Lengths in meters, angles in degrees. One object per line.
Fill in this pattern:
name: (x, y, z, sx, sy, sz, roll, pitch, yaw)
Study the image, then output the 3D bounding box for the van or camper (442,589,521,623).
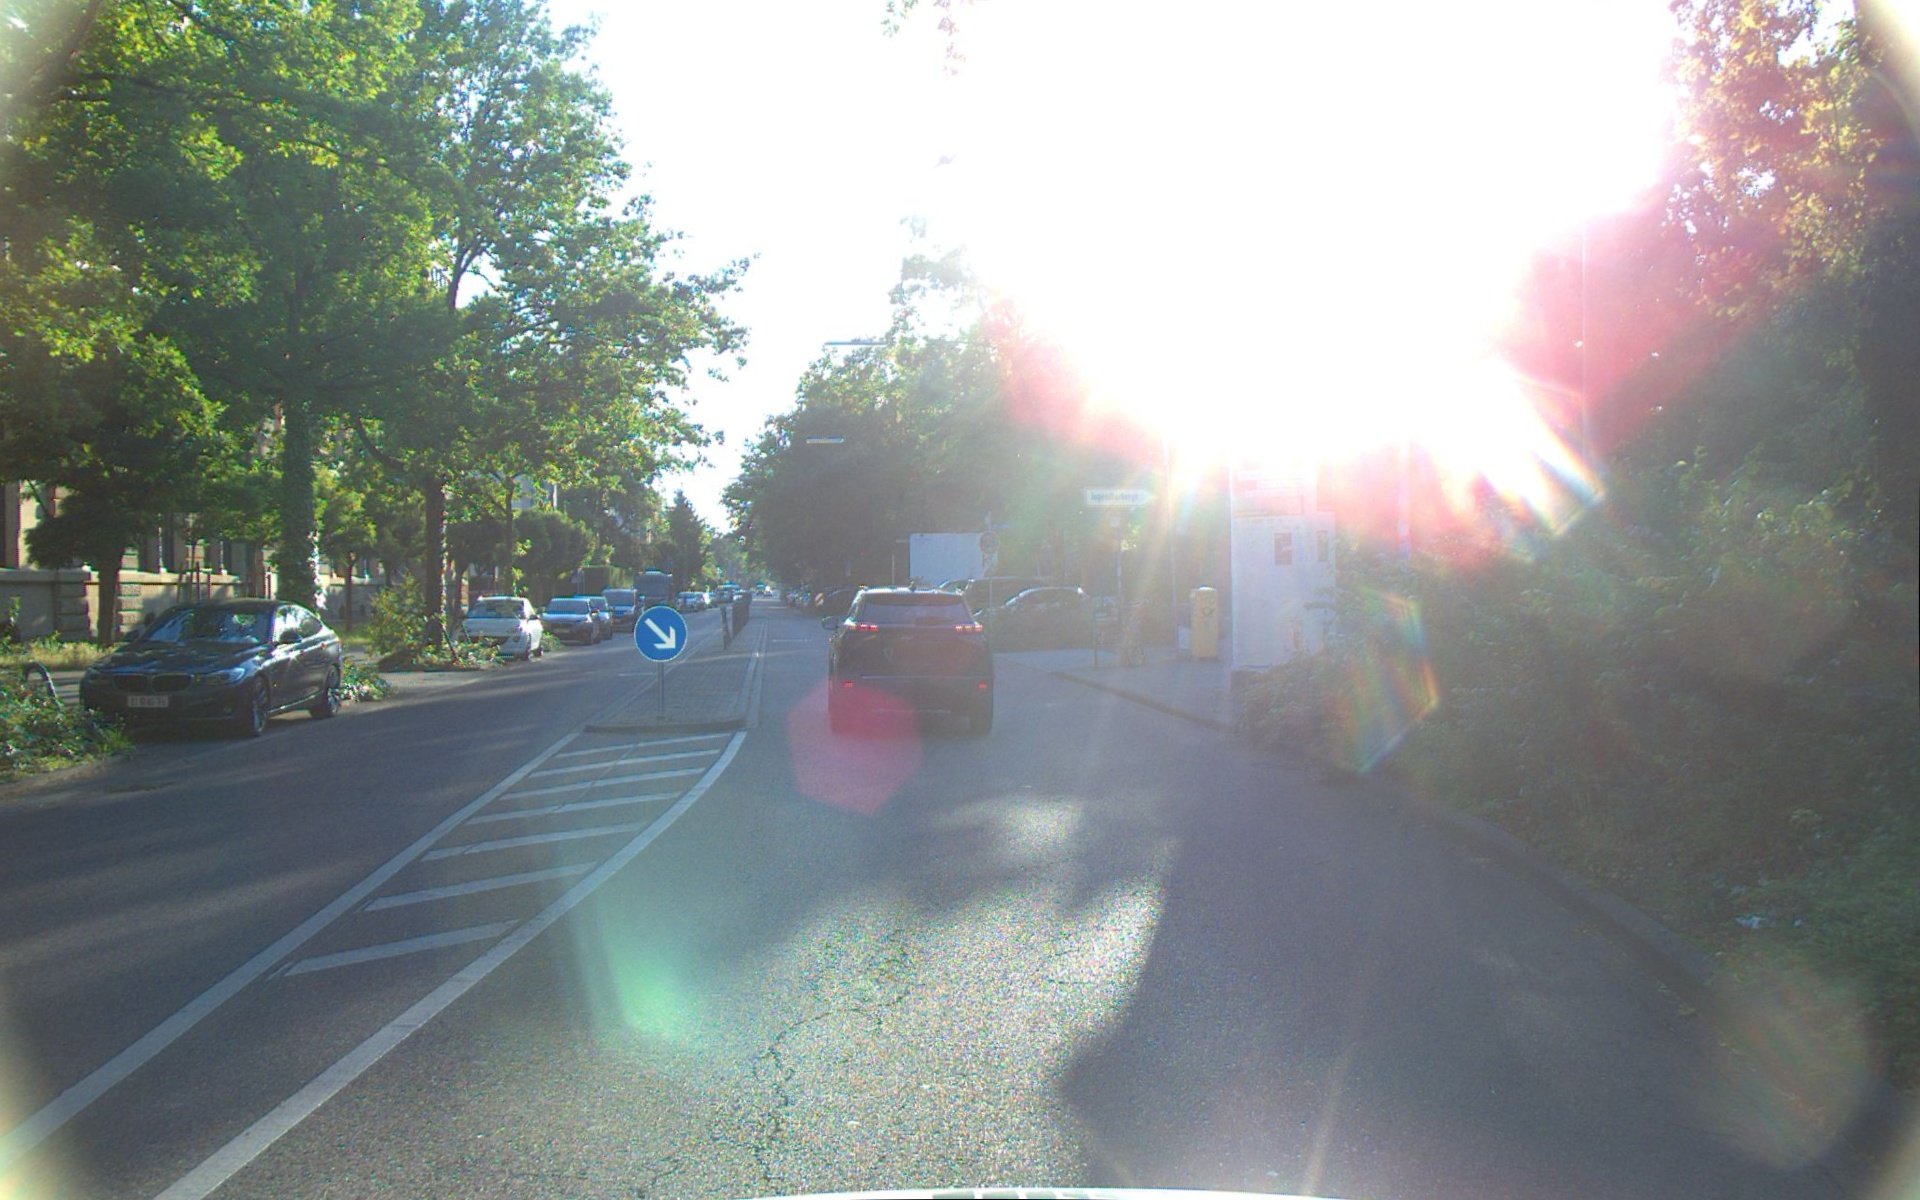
van or camper: (-31.820, 0.389, 110.163, 4.675, 2.020, 1.999, -1, 4, -5)

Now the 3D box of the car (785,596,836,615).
car: (-12.801, 0.492, 141.410, 4.165, 1.474, 2.017, -2, 0, -9)

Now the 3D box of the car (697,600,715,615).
car: (-25.677, 0.722, 167.288, 1.720, 1.438, 3.757, -3, 1, -8)

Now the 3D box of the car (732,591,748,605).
car: (-24.072, -0.159, 181.322, 1.708, 1.483, 4.616, -1, 0, -7)

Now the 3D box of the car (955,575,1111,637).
car: (2.101, 0.165, 48.288, 4.281, 1.581, 1.724, -3, 0, -8)

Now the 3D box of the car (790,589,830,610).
car: (-15.710, -0.075, 173.070, 3.917, 2.126, 1.753, 0, 0, -12)

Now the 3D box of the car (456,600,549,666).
car: (-11.083, 0.764, 40.271, 1.587, 1.522, 3.918, 0, 0, -7)

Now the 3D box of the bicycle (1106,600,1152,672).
bicycle: (3.070, 0.627, 29.943, 0.482, 1.168, 2.287, -4, 1, 13)

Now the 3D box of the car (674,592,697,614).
car: (-20.719, 0.233, 124.993, 1.584, 1.541, 3.704, -3, 0, -9)

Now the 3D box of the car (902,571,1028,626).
car: (0.174, -0.061, 66.039, 4.761, 1.949, 1.913, -3, 0, -8)

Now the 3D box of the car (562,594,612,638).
car: (-13.490, 0.561, 60.009, 1.688, 1.522, 4.364, 0, 0, -12)

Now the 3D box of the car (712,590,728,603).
car: (-30.695, -0.473, 211.682, 1.863, 1.601, 3.993, 0, 0, -7)

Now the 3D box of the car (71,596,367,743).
car: (-8.667, 0.739, 19.853, 1.767, 1.537, 4.856, 0, 0, -6)

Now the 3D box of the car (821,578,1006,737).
car: (-0.637, 0.582, 18.954, 1.738, 1.596, 4.103, 1, 0, -7)

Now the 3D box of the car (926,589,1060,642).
car: (1.105, 0.511, 56.375, 4.281, 1.564, 1.917, -3, 0, -8)

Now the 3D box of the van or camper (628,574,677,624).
van or camper: (-16.666, -0.038, 89.947, 2.187, 2.589, 7.068, 1, 0, -7)

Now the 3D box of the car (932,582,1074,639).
car: (1.372, 0.318, 53.291, 4.281, 1.581, 1.873, -3, 0, -8)

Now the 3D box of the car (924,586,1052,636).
car: (0.981, 0.381, 58.982, 4.281, 1.564, 1.917, -3, 0, -8)

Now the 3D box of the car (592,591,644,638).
car: (-14.514, 0.579, 70.371, 1.743, 1.898, 4.326, 2, 0, -6)

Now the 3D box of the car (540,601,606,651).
car: (-12.304, 0.788, 52.769, 1.587, 1.522, 4.370, 0, 0, -7)
